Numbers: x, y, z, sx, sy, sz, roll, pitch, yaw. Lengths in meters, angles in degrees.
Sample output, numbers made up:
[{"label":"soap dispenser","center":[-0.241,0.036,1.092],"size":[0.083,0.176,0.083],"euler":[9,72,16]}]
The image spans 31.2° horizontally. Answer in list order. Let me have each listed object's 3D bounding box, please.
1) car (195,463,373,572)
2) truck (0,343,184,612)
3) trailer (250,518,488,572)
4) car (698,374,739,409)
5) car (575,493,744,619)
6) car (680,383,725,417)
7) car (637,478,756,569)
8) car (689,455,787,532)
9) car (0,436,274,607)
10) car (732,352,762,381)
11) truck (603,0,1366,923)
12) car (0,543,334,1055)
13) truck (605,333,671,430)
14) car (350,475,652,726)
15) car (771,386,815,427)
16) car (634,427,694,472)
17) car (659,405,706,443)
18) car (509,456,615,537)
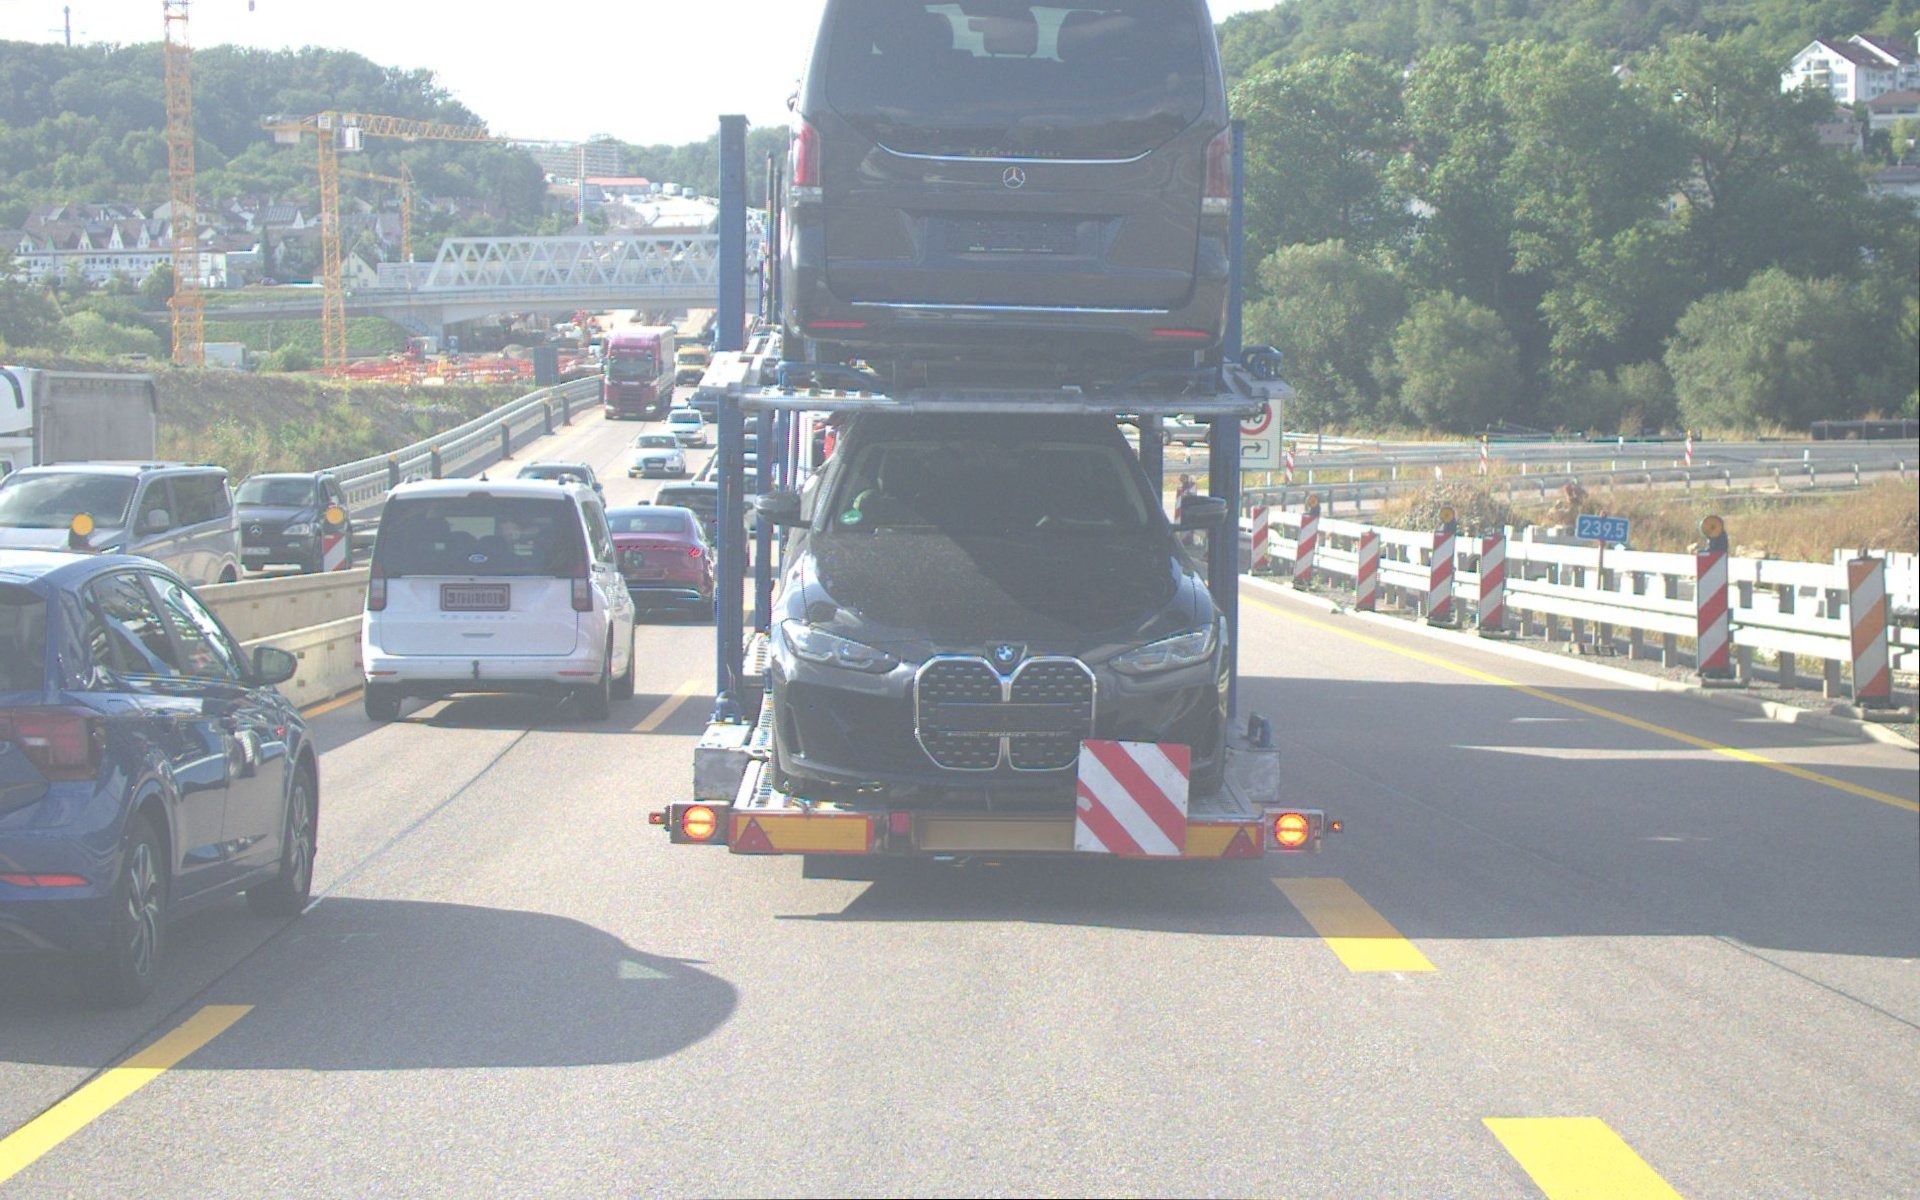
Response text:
[{"label":"car","center":[-11.702,-1.399,59.816],"size":[1.994,1.798,4.444],"euler":[1,0,3]},{"label":"truck","center":[-12.849,-1.549,45.614],"size":[2.701,3.300,7.535],"euler":[1,0,6]},{"label":"trailer","center":[-11.376,-1.039,67.175],"size":[2.352,0.936,10.328],"euler":[1,0,3]},{"label":"car","center":[-12.602,-10.889,179.578],"size":[1.844,1.642,4.505],"euler":[1,2,0]},{"label":"car","center":[-3.879,-0.566,45.070],"size":[1.993,1.551,4.401],"euler":[1,0,-2]},{"label":"car","center":[-12.047,-9.354,161.142],"size":[1.821,1.435,4.614],"euler":[1,2,-1]},{"label":"car","center":[-4.678,-1.336,61.447],"size":[1.993,1.547,4.000],"euler":[1,0,-3]},{"label":"car","center":[-5.071,-2.432,79.116],"size":[1.993,1.660,4.000],"euler":[1,1,0]},{"label":"car","center":[-9.500,-0.902,38.450],"size":[2.126,1.760,5.030],"euler":[1,2,7]},{"label":"car","center":[-13.334,-14.610,215.406],"size":[1.844,1.642,4.237],"euler":[1,2,-3]},{"label":"truck","center":[-0.045,-0.990,22.311],"size":[2.753,3.941,18.891],"euler":[2,1,-1]},{"label":"car","center":[-3.364,0.539,11.904],"size":[1.722,1.417,4.001],"euler":[1,2,-1]},{"label":"truck","center":[-15.267,-10.318,163.329],"size":[2.914,4.372,6.288],"euler":[2,2,-4]},{"label":"car","center":[-3.501,-0.011,26.881],"size":[1.823,1.786,4.000],"euler":[1,0,0]},{"label":"car","center":[-7.330,-8.479,150.699],"size":[1.844,1.642,4.506],"euler":[1,2,-4]},{"label":"car","center":[-10.001,-5.068,116.387],"size":[1.852,1.435,4.559],"euler":[1,2,-3]},{"label":"car","center":[-11.196,-7.113,138.875],"size":[1.754,1.435,3.805],"euler":[1,2,-3]},{"label":"car","center":[-8.413,-2.202,73.014],"size":[1.852,1.630,4.749],"euler":[1,2,-2]}]
